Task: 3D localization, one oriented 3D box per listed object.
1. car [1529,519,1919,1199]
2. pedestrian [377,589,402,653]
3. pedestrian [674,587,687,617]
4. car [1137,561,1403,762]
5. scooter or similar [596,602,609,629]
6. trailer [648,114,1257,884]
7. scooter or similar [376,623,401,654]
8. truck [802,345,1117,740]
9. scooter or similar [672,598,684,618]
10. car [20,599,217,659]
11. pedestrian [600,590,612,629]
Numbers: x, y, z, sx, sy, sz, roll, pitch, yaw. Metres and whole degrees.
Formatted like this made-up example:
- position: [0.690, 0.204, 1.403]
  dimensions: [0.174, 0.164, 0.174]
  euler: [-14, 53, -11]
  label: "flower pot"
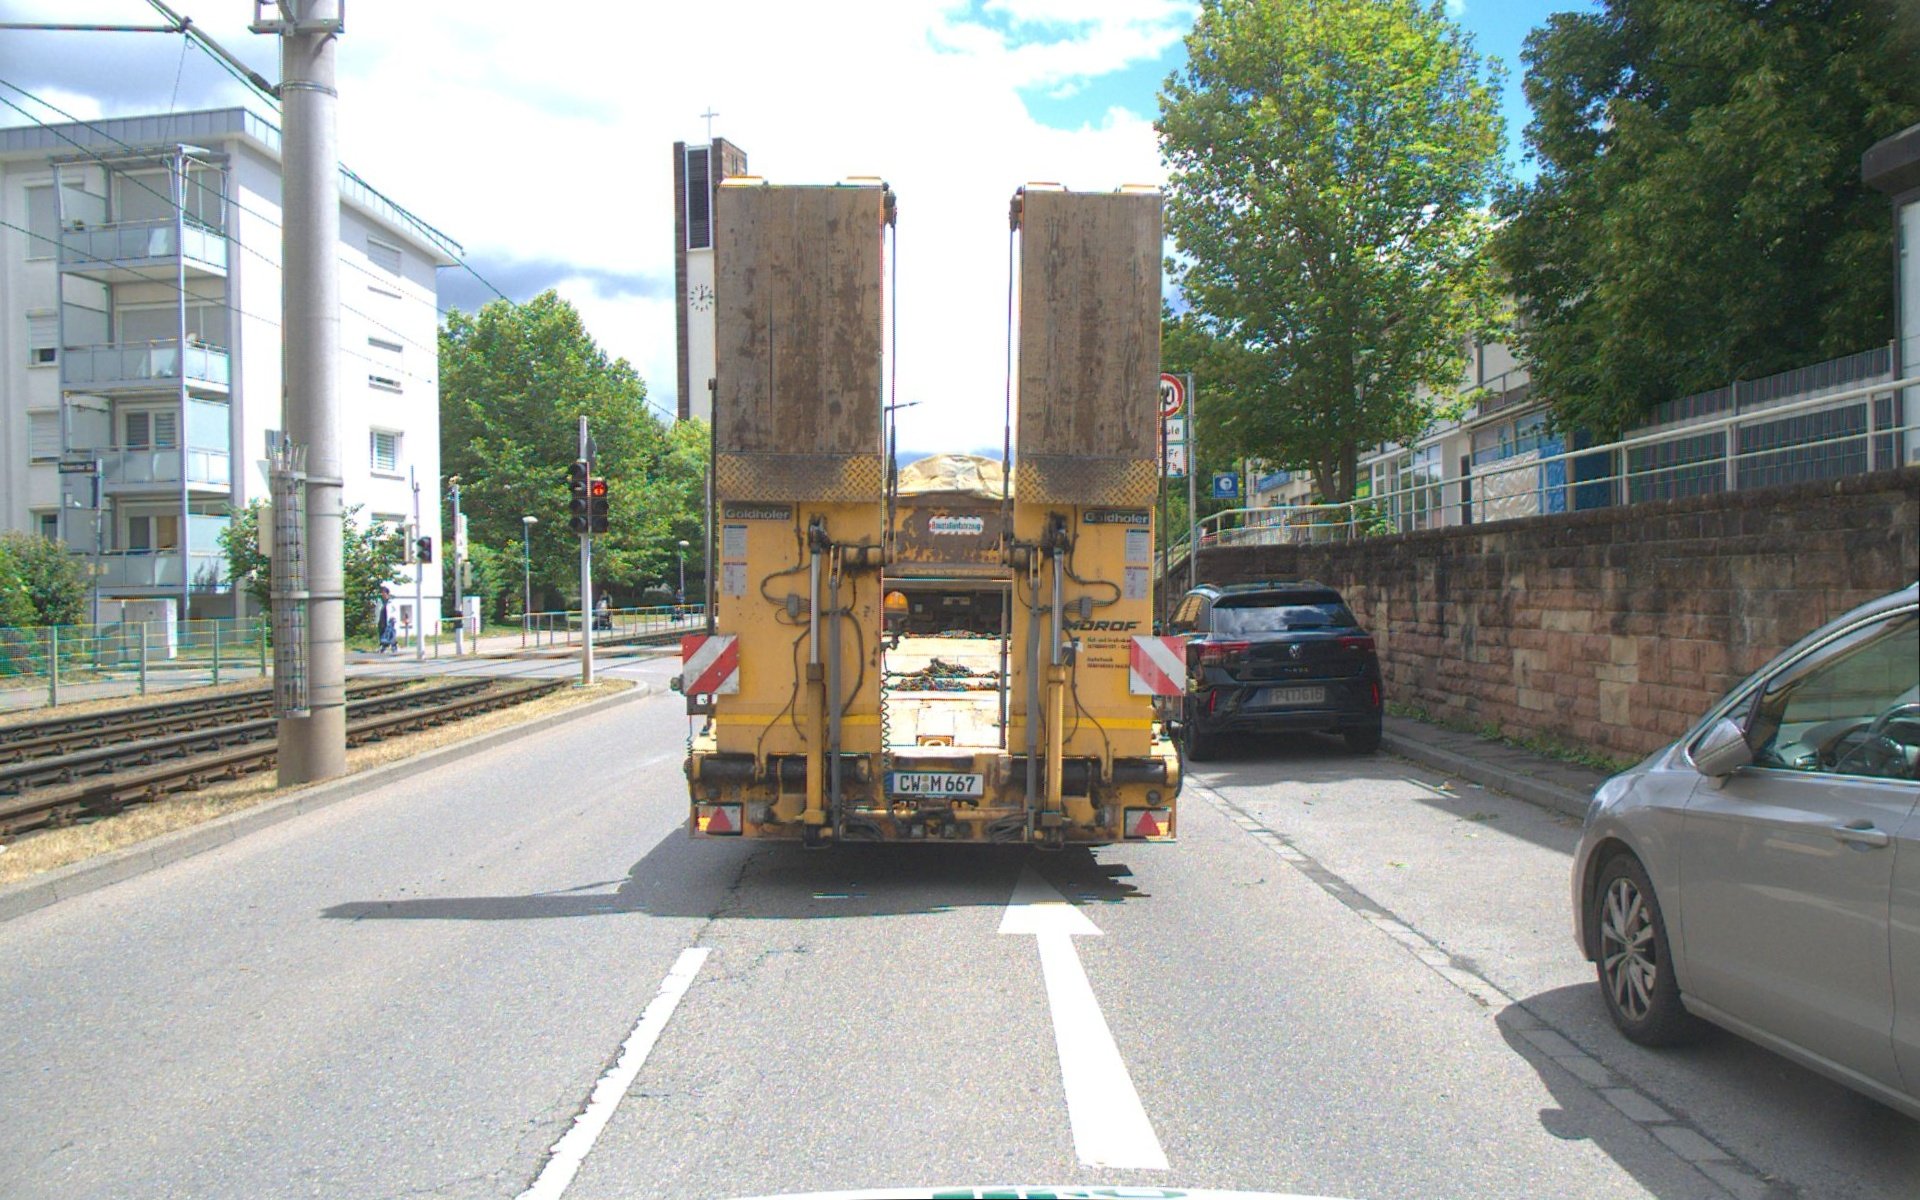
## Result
- position: [3.141, 0.601, 4.250]
  dimensions: [1.754, 1.646, 4.247]
  euler: [-2, 0, -2]
  label: "car"
- position: [-14.619, 0.534, 42.368]
  dimensions: [0.428, 1.608, 0.475]
  euler: [-1, 0, 4]
  label: "pedestrian"
- position: [-14.210, 0.098, 84.183]
  dimensions: [0.552, 1.540, 0.645]
  euler: [1, 0, -2]
  label: "pedestrian"
- position: [2.887, 0.522, 16.256]
  dimensions: [1.813, 1.668, 4.000]
  euler: [-2, 0, 0]
  label: "car"
- position: [-14.446, 0.624, 66.806]
  dimensions: [0.331, 1.076, 0.688]
  euler: [-1, 0, 2]
  label: "scooter or similar"
- position: [-0.024, -0.520, 12.314]
  dimensions: [2.885, 3.664, 8.683]
  euler: [-1, 0, 0]
  label: "trailer"
- position: [-14.476, 0.979, 41.877]
  dimensions: [0.428, 0.760, 0.475]
  euler: [-1, 0, 4]
  label: "scooter or similar"
- position: [-0.014, -0.553, 17.852]
  dimensions: [2.882, 3.635, 4.876]
  euler: [-1, 0, 0]
  label: "truck"
- position: [-14.226, 0.385, 83.528]
  dimensions: [0.495, 0.988, 0.645]
  euler: [1, 0, -2]
  label: "scooter or similar"
- position: [-20.619, 0.699, 40.619]
  dimensions: [3.902, 1.369, 1.903]
  euler: [-1, 0, 7]
  label: "car"
- position: [-14.423, 0.379, 67.424]
  dimensions: [0.341, 1.564, 0.557]
  euler: [-1, 0, 3]
  label: "pedestrian"
